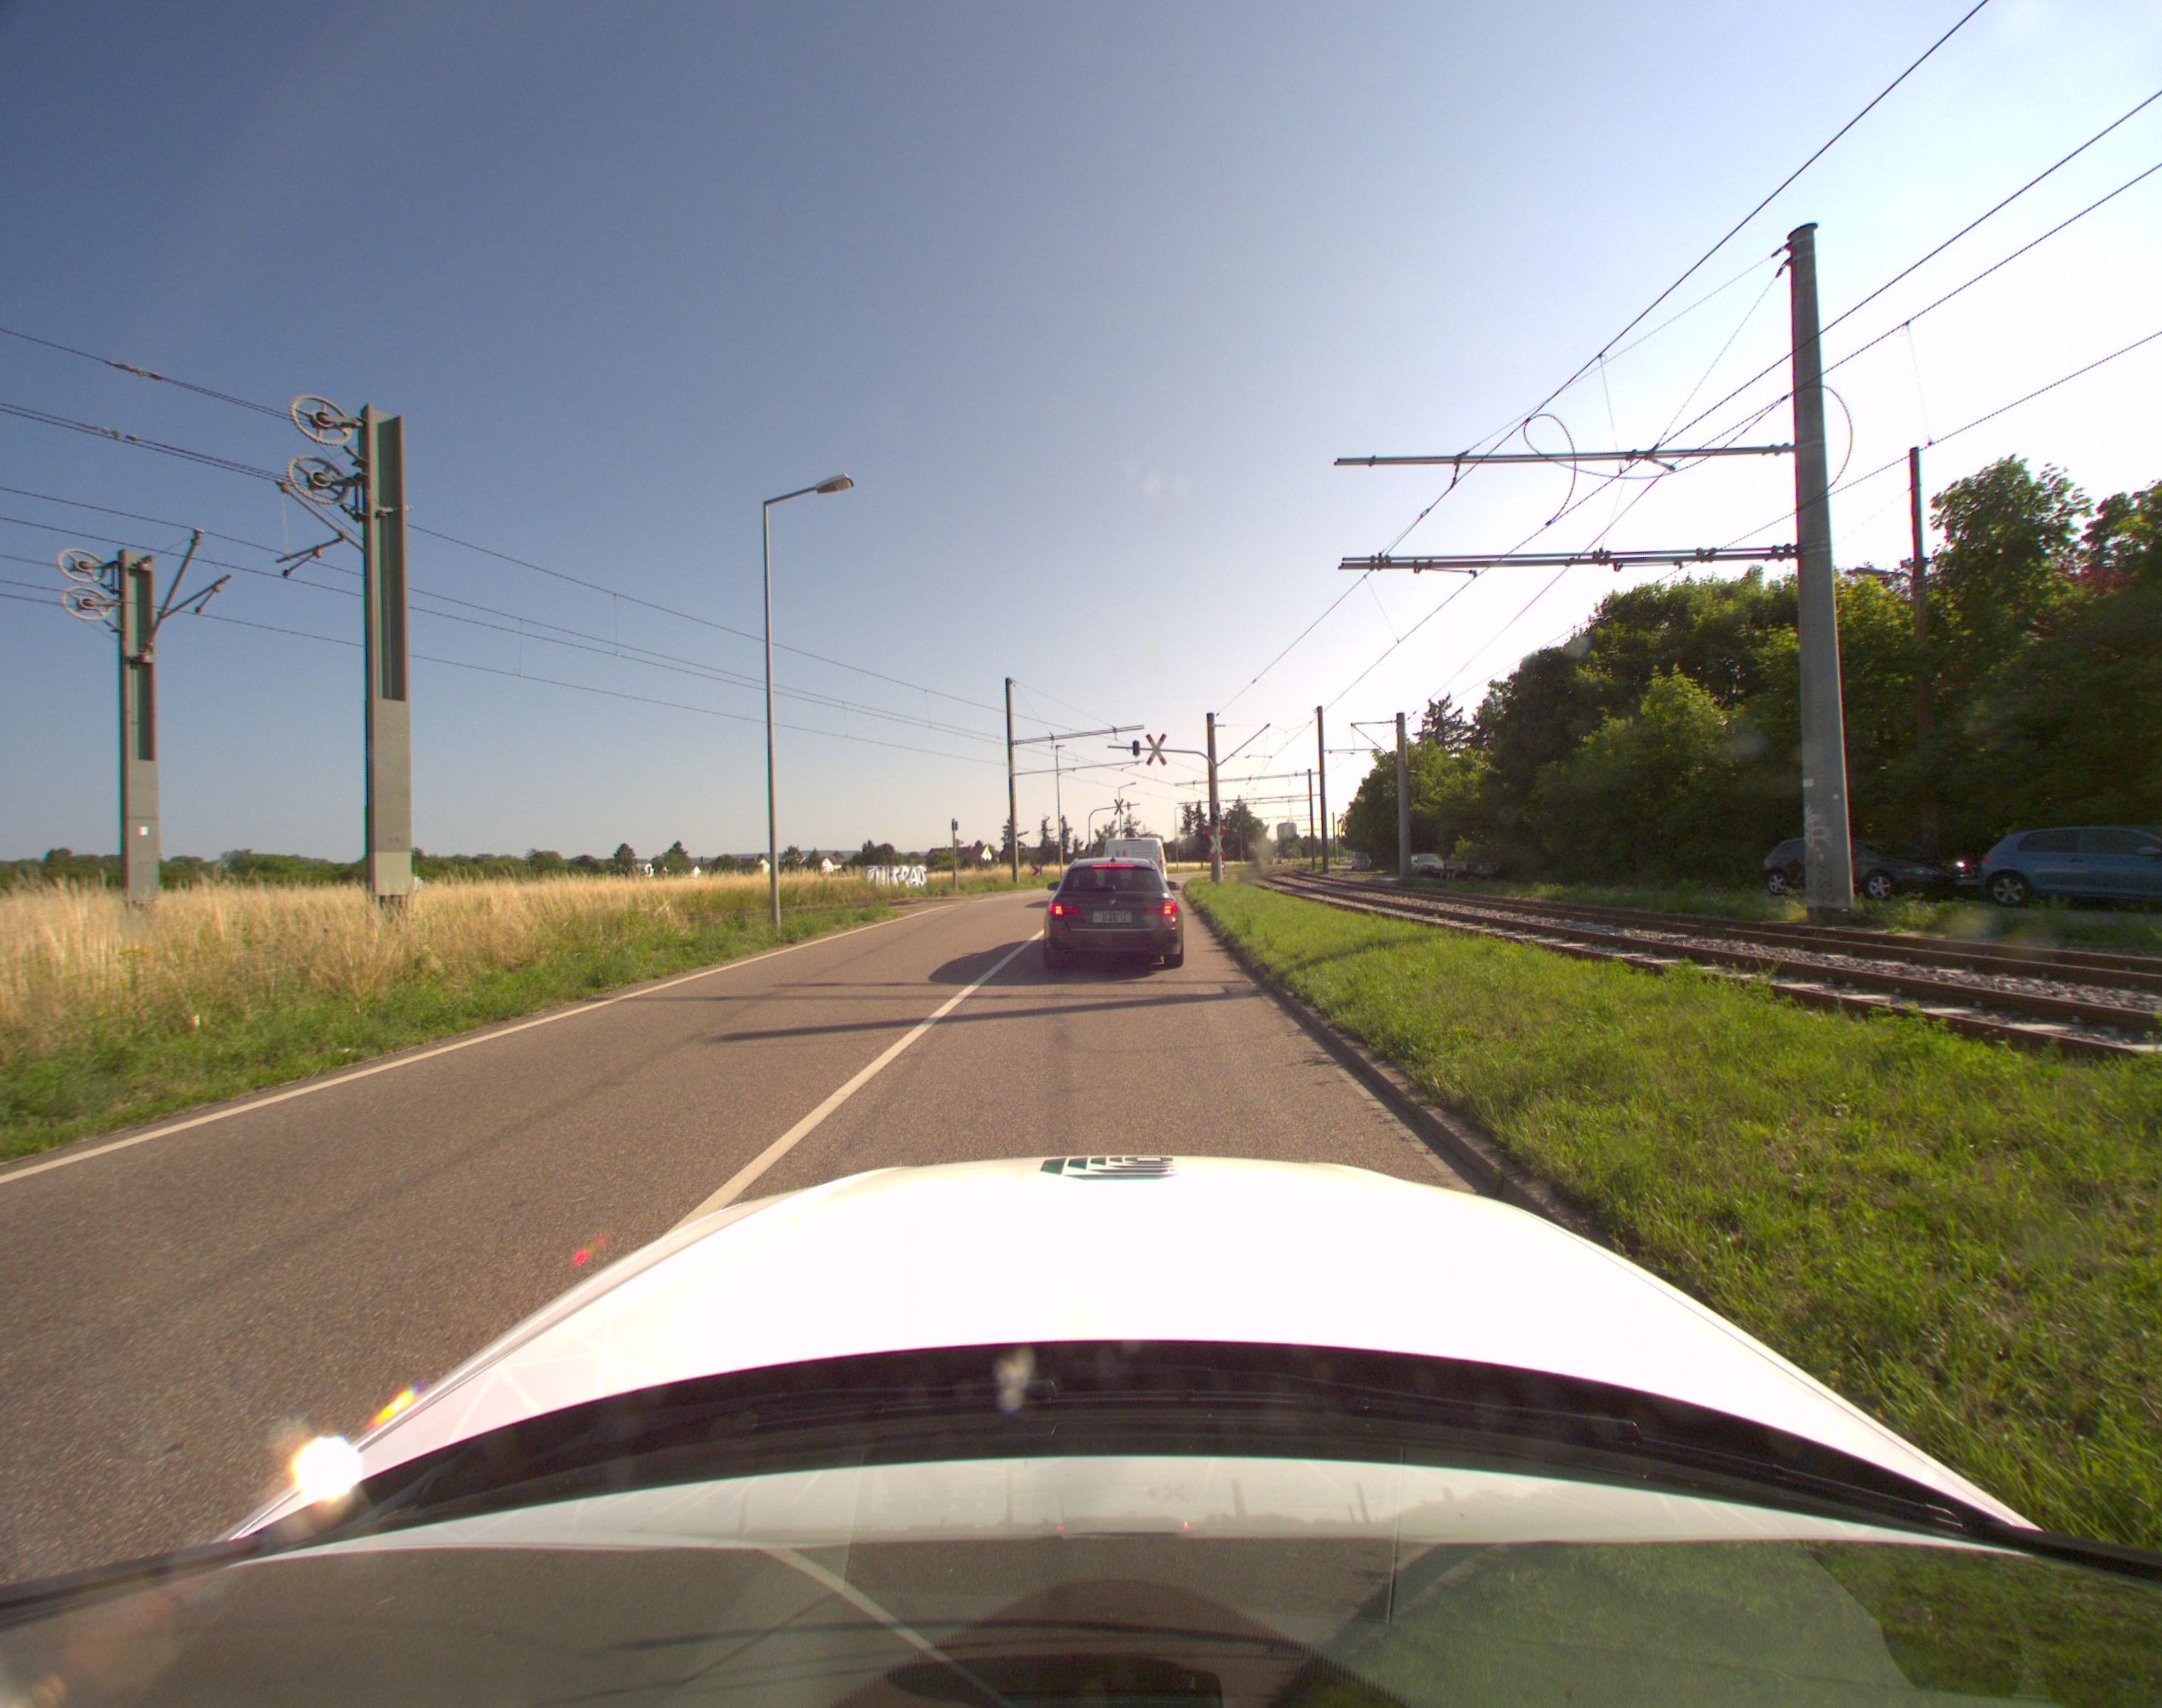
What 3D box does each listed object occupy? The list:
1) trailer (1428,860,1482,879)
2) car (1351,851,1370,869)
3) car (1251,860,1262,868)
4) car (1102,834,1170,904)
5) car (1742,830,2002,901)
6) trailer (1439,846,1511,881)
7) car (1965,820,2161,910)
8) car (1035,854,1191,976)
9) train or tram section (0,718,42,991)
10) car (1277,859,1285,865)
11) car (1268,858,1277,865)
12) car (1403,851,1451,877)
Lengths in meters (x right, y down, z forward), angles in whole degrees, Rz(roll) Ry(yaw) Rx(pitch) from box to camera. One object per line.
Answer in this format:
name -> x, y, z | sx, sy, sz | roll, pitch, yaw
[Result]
trailer -> 19.986, 0.795, 43.625 | 1.721, 0.939, 3.738 | 1, 0, 10
car -> 32.840, 0.727, 95.895 | 1.978, 2.004, 5.090 | 1, 0, 18
car -> 35.919, 2.017, 166.835 | 1.679, 1.439, 4.304 | -1, 0, 18
car -> 1.865, 0.452, 26.278 | 1.847, 1.988, 5.118 | -1, 0, 7
car -> 17.672, 0.257, 18.568 | 1.617, 1.410, 4.522 | 0, -1, 1
trailer -> 19.105, 0.462, 39.663 | 2.014, 1.596, 4.270 | 1, 0, 9
car -> 17.556, 0.156, 13.379 | 1.480, 1.401, 4.147 | -2, -1, -2
car -> 0.479, 0.742, 12.250 | 1.862, 1.452, 4.746 | -1, 0, 2
train or tram section -> -18.665, -0.177, 5.257 | 2.879, 3.569, 14.345 | -1, -2, 28
car -> 52.272, 2.059, 212.988 | 1.698, 1.549, 3.947 | -1, -1, 19
car -> 45.781, 1.832, 194.375 | 1.692, 1.665, 4.611 | -1, -1, 18
car -> 20.475, 0.578, 48.386 | 1.687, 1.456, 4.896 | 1, 0, 12
